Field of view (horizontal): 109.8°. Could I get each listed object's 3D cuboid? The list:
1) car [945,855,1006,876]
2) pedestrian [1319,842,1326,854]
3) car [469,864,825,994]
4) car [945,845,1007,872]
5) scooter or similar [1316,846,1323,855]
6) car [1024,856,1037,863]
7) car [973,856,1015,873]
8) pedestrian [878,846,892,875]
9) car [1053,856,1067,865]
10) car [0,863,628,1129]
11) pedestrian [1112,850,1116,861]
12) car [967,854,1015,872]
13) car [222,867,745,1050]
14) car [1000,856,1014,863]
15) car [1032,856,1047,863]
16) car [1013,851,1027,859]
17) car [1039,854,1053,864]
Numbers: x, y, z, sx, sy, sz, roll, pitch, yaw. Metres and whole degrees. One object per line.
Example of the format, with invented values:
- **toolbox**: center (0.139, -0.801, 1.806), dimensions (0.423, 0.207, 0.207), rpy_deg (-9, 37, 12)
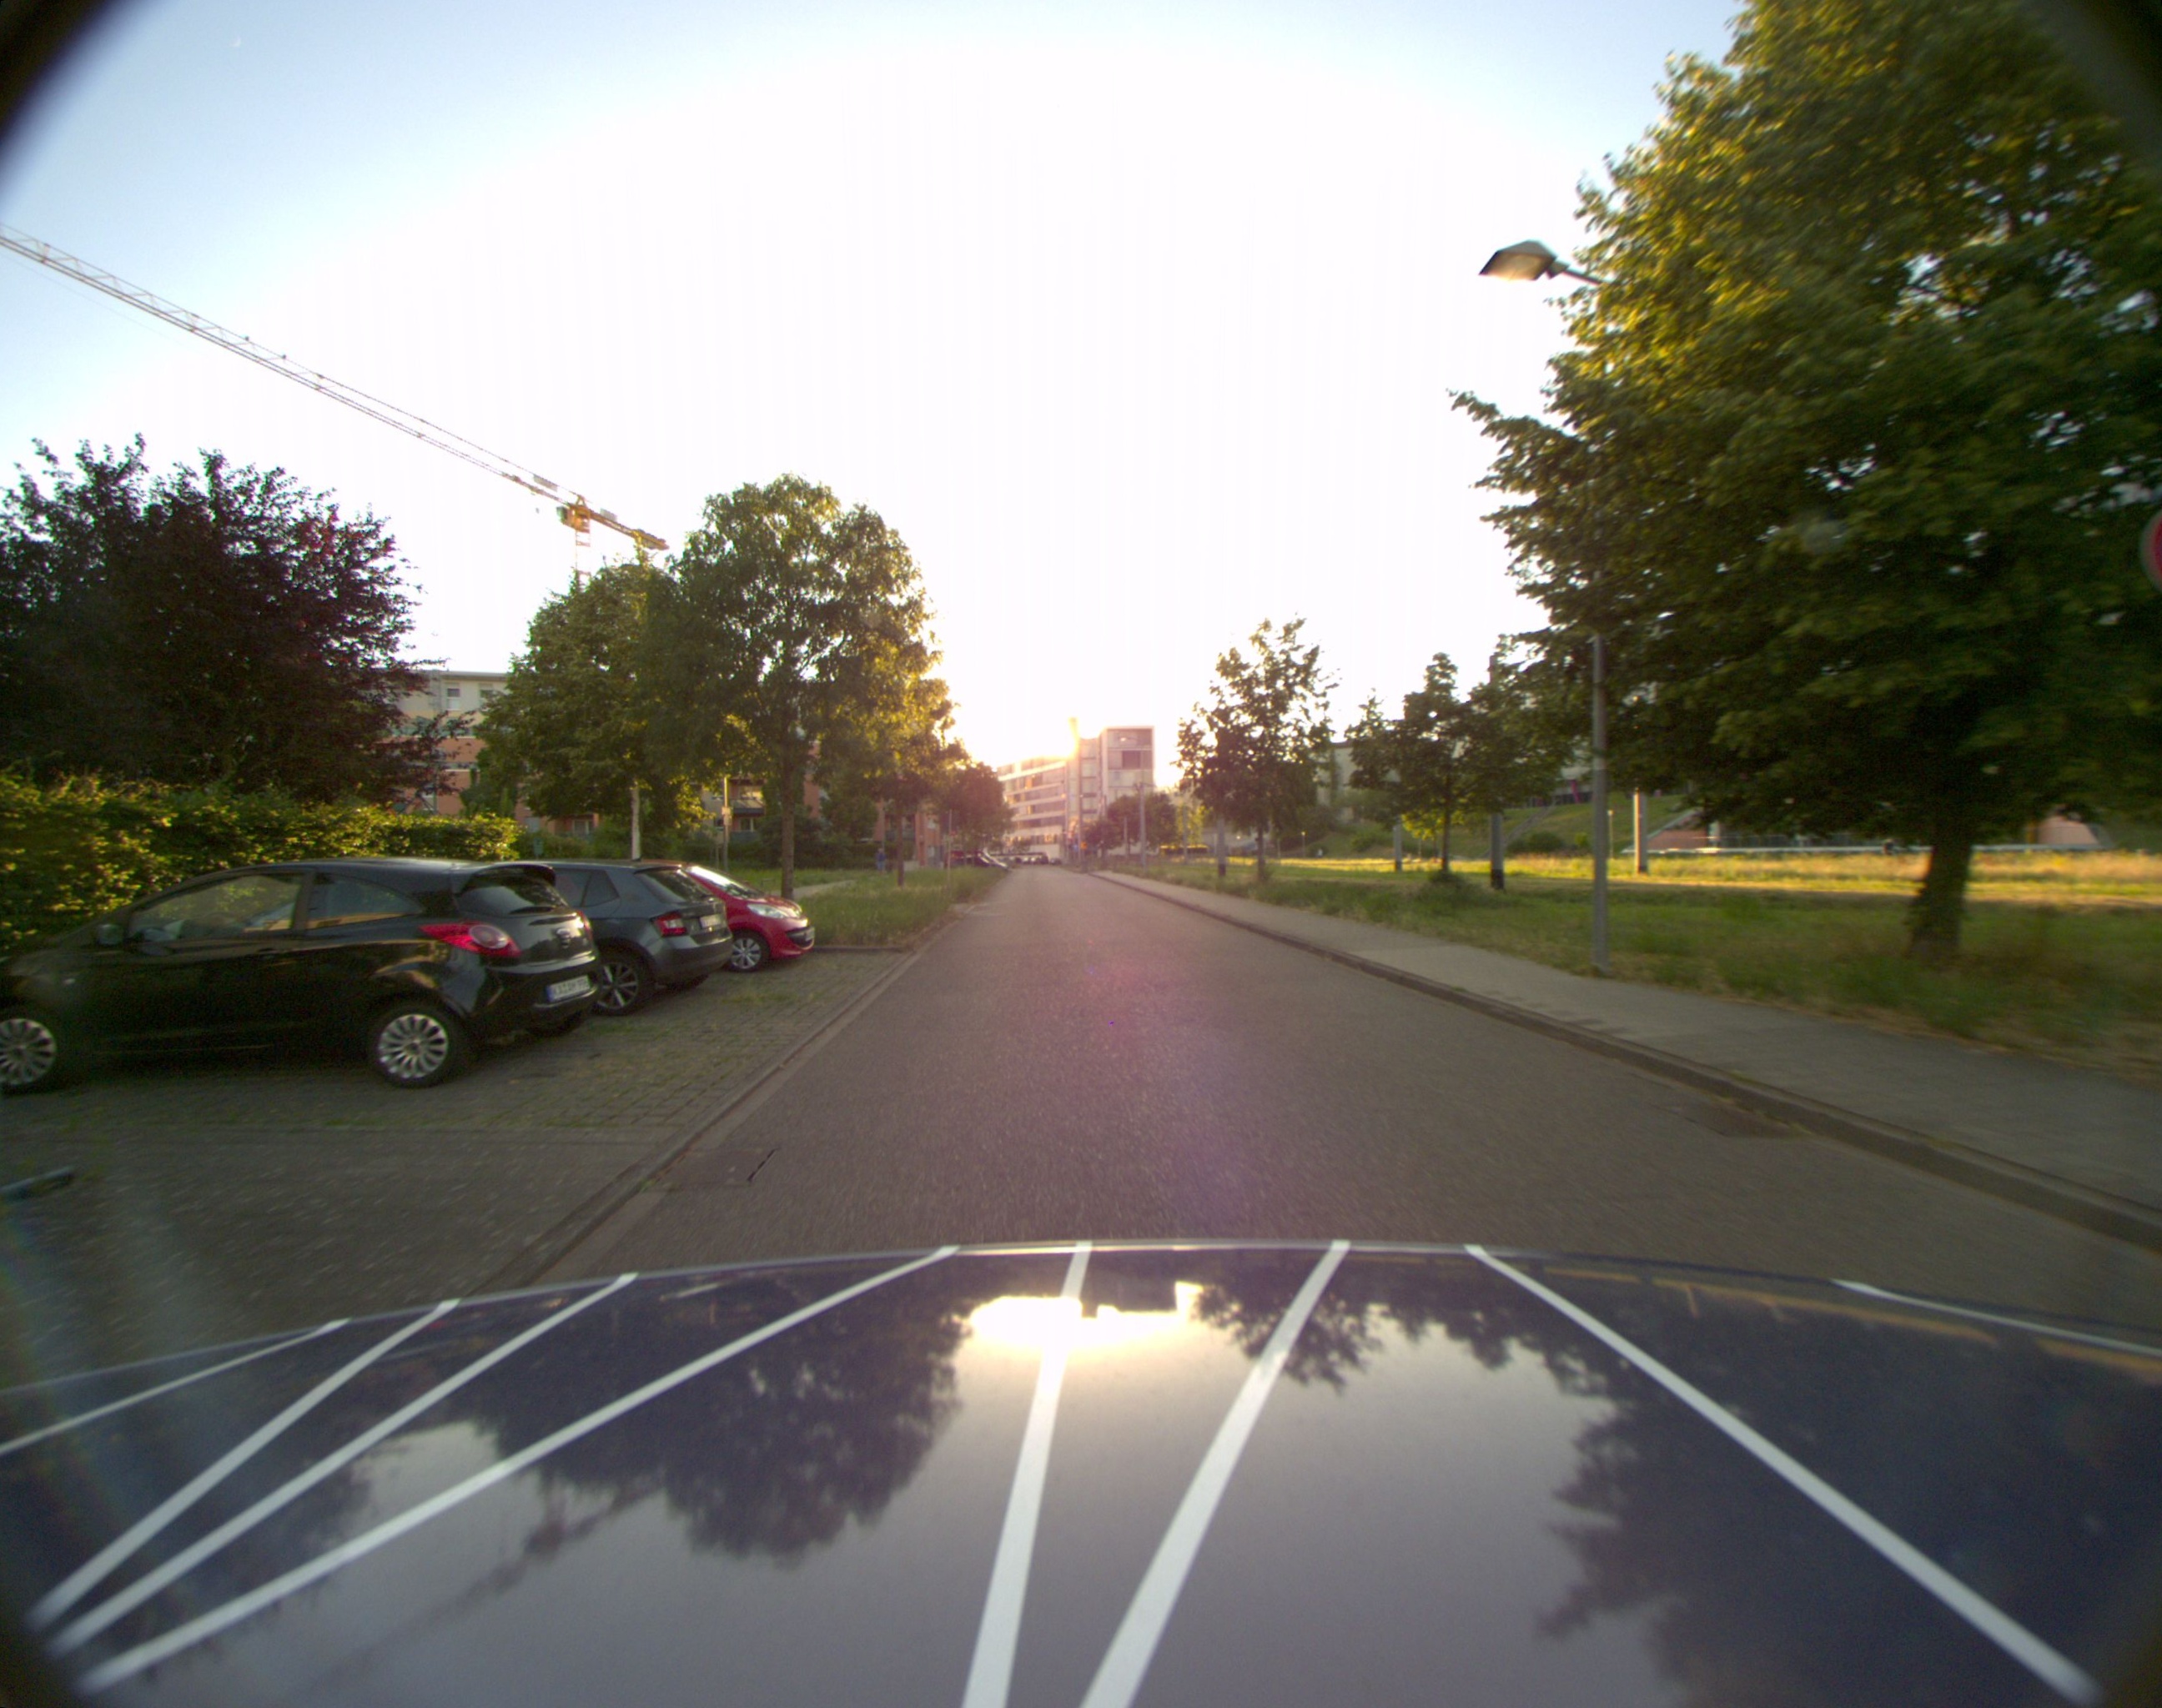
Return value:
- **car**: center (-8.400, 0.891, 60.787), dimensions (4.681, 1.547, 1.811), rpy_deg (-1, 0, -2)
- **pedestrian**: center (35.057, -0.867, 110.117), dimensions (0.618, 1.826, 0.790), rpy_deg (-3, 1, -4)
- **car**: center (-5.658, 0.933, 10.335), dimensions (3.814, 1.500, 1.678), rpy_deg (-1, 0, -5)
- **car**: center (-8.820, 0.387, 63.866), dimensions (4.933, 2.105, 2.016), rpy_deg (-1, 0, -2)
- **scooter or similar**: center (34.886, -0.559, 110.997), dimensions (0.618, 1.237, 0.790), rpy_deg (-3, 1, -4)
- **car**: center (-10.730, 1.116, 162.402), dimensions (1.655, 1.468, 3.759), rpy_deg (-1, 0, -23)
- **car**: center (-7.581, 0.896, 66.421), dimensions (3.535, 1.456, 1.615), rpy_deg (1, 0, -3)
- **pedestrian**: center (-12.059, 0.398, 46.782), dimensions (0.670, 1.733, 0.699), rpy_deg (-1, 0, -4)
- **car**: center (-3.906, 1.223, 142.396), dimensions (1.859, 1.433, 4.223), rpy_deg (-4, 0, -12)
- **car**: center (-5.730, 0.882, 5.502), dimensions (3.814, 1.500, 1.678), rpy_deg (-1, 1, -5)
- **pedestrian**: center (5.614, 0.314, 130.803), dimensions (0.450, 1.826, 0.482), rpy_deg (-4, 1, -24)
- **car**: center (-8.109, 0.786, 68.865), dimensions (4.227, 1.559, 1.792), rpy_deg (1, 0, -3)
- **car**: center (-5.677, 0.937, 7.667), dimensions (3.814, 1.500, 1.678), rpy_deg (-1, 0, -5)
- **car**: center (-17.204, 1.233, 176.379), dimensions (1.800, 1.542, 3.990), rpy_deg (-4, 1, -31)
- **car**: center (-8.624, 1.129, 157.993), dimensions (1.868, 1.468, 4.513), rpy_deg (-4, 1, -20)
- **car**: center (-13.681, 0.160, 170.797), dimensions (1.799, 1.676, 3.992), rpy_deg (-1, 0, -23)
- **car**: center (-7.095, 1.066, 153.398), dimensions (1.896, 1.961, 4.512), rpy_deg (-4, 0, -14)
